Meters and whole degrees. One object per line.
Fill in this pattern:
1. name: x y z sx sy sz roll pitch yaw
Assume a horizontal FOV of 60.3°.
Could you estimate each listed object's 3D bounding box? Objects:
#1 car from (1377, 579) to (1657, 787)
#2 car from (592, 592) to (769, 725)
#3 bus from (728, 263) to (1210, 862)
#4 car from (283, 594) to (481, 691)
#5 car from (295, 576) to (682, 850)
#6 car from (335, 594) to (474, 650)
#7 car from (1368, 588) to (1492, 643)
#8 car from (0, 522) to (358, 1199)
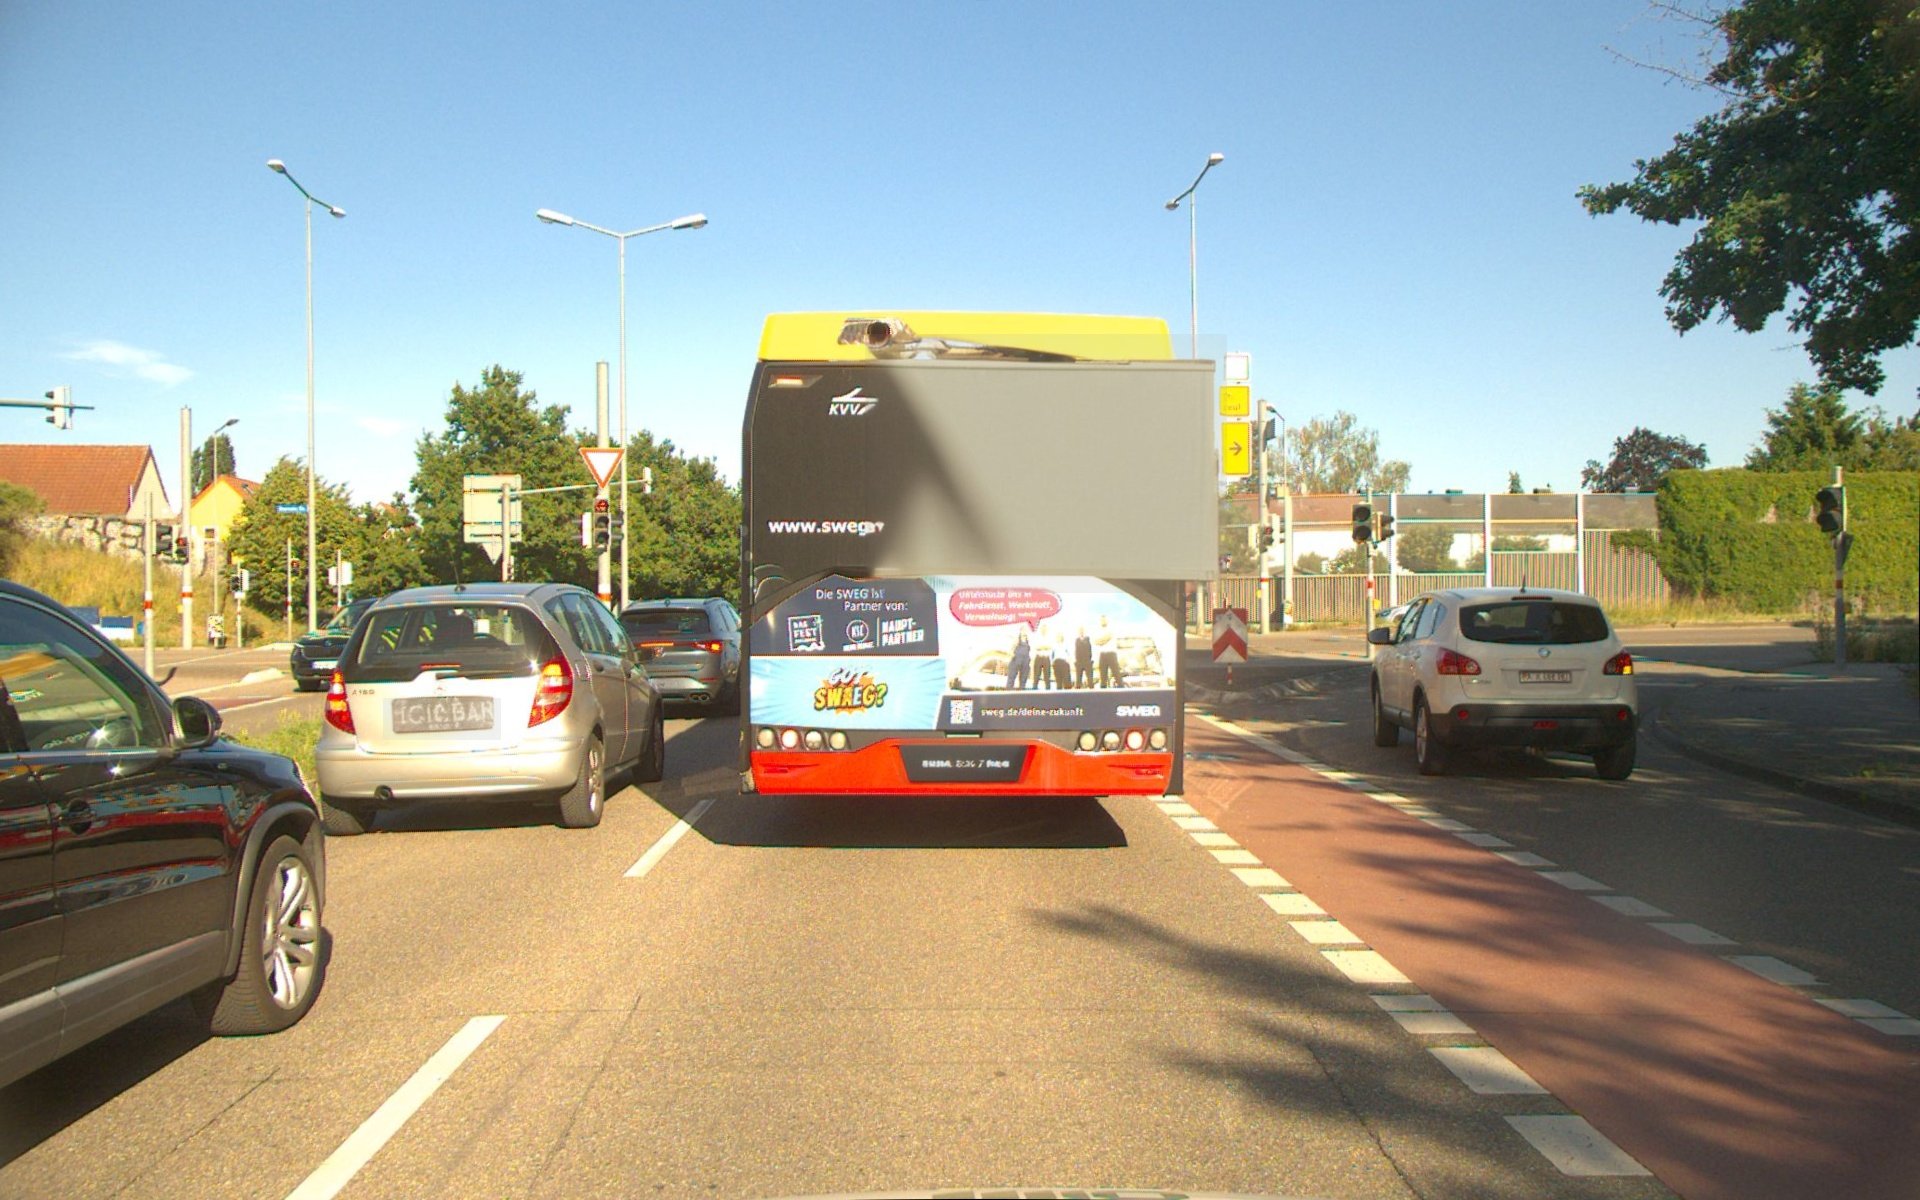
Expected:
1. car: 4.975 0.652 15.302 1.681 1.635 4.071 1 0 7
2. car: -3.455 0.674 21.060 1.658 1.484 3.750 -2 0 -1
3. bus: 0.015 -0.255 14.895 2.589 3.222 11.860 0 0 0
4. car: -10.172 0.706 29.430 1.725 1.552 4.083 -2 0 6
5. car: -3.223 0.679 12.132 1.725 1.617 3.999 -2 0 -1
6. car: -17.006 0.679 50.798 3.735 1.641 1.704 1 0 -7
7. car: 16.779 0.545 59.200 3.904 1.847 1.924 1 0 3
8. car: -3.151 0.684 4.305 1.736 1.682 3.999 -2 0 -1
